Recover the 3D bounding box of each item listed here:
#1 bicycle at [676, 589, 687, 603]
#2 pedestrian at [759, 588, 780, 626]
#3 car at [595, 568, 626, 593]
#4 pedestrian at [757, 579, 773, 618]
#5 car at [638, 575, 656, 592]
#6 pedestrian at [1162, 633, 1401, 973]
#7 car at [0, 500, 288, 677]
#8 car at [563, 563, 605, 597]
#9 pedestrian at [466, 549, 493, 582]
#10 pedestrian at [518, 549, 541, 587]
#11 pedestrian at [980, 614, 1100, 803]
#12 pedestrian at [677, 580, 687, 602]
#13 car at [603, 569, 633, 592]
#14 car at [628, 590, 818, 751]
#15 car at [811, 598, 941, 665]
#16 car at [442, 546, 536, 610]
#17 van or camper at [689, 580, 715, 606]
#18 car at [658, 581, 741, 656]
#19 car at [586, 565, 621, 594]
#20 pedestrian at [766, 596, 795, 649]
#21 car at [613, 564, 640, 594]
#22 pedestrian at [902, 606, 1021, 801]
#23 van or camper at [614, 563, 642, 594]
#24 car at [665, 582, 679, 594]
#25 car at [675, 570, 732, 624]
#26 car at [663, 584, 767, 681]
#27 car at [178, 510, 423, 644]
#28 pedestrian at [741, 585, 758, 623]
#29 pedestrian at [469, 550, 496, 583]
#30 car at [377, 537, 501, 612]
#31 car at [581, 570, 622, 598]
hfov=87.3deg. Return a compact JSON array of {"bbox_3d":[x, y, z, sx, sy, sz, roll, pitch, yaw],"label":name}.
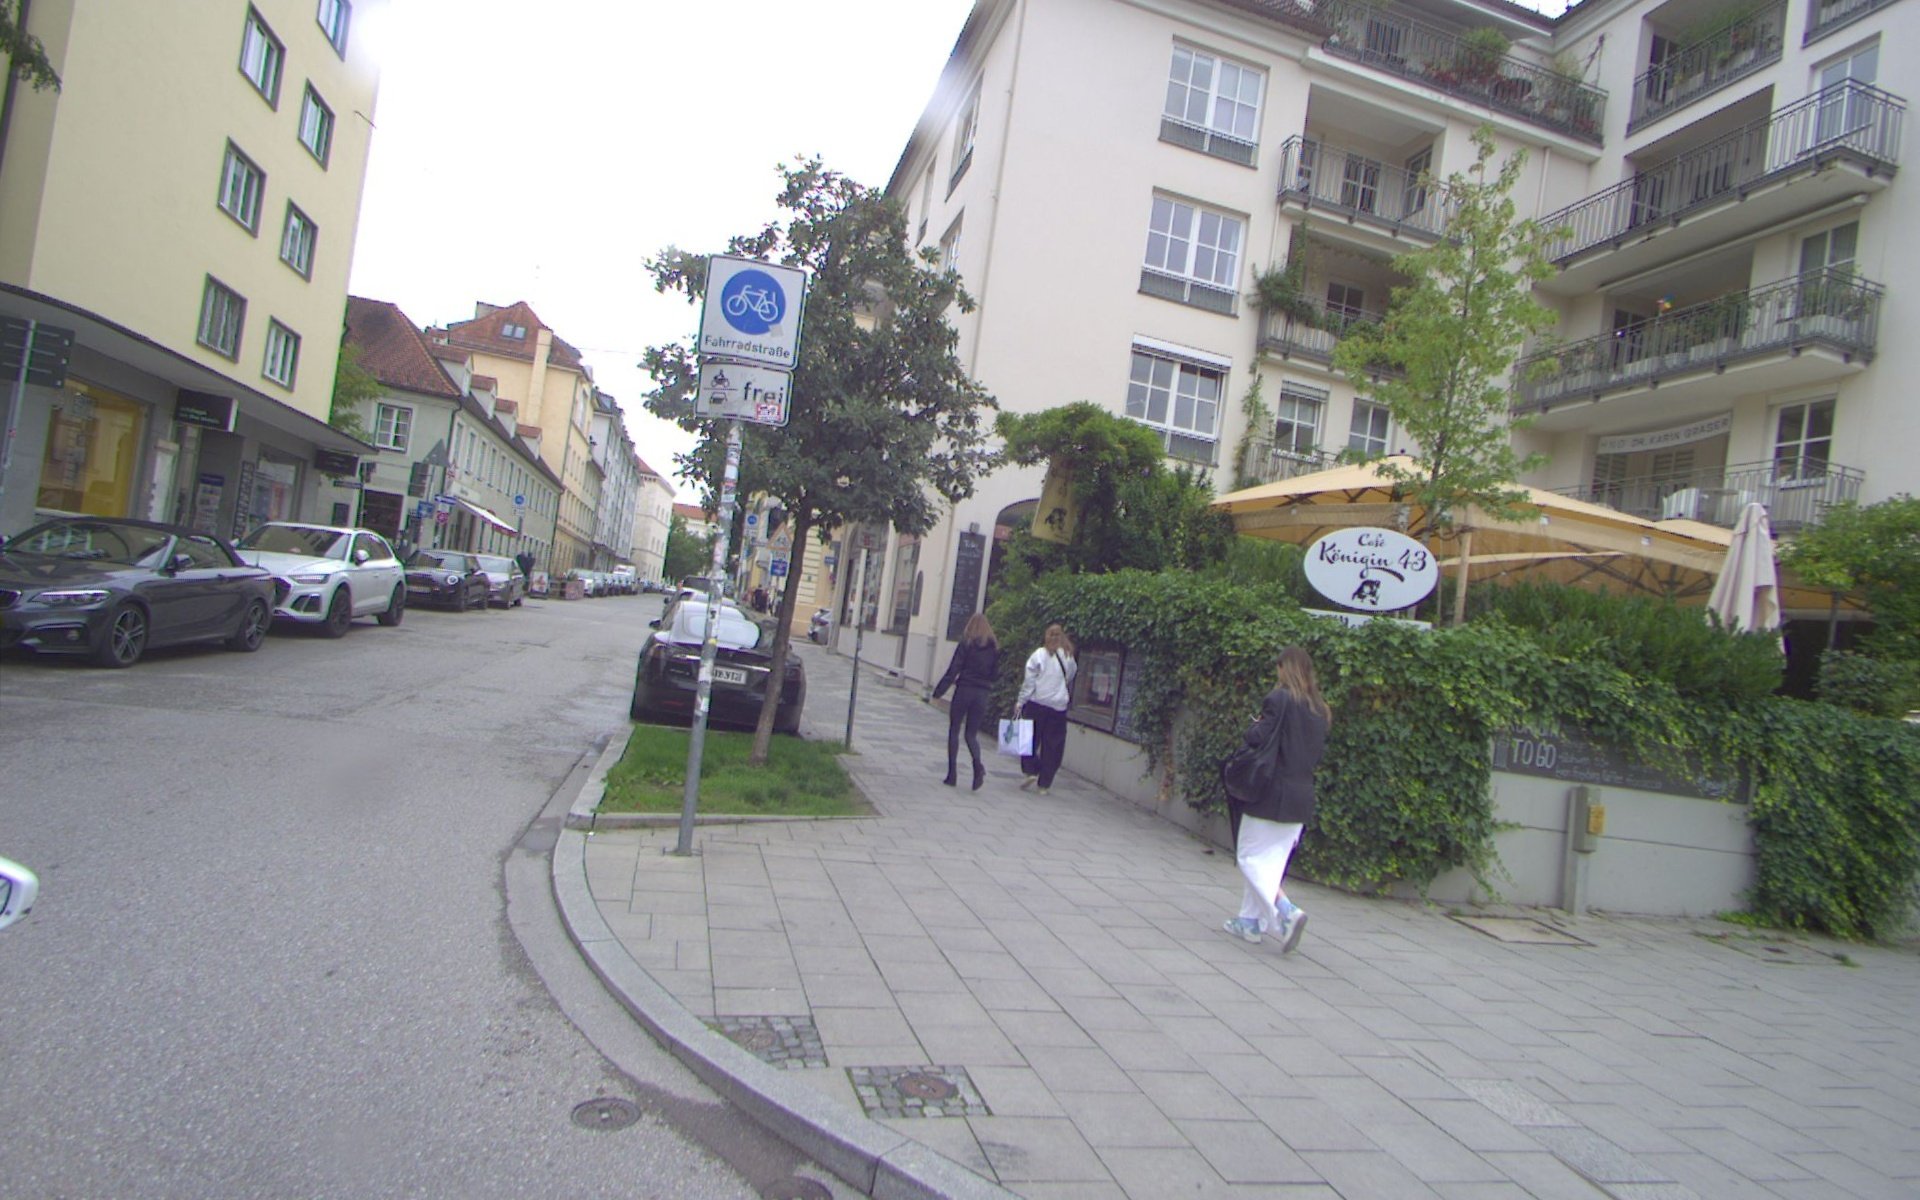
[{"bbox_3d":[-23.293,-0.313,84.142,0.667,1.107,1.756,8,-2,-15],"label":"bicycle"},{"bbox_3d":[-8.733,0.321,46.039,0.651,1.639,0.977,8,-2,-15],"label":"pedestrian"},{"bbox_3d":[-24.259,-1.373,69.995,1.796,1.459,4.115,8,-1,-18],"label":"car"},{"bbox_3d":[-10.473,-0.070,53.972,0.661,2.004,0.707,5,-1,-14],"label":"pedestrian"},{"bbox_3d":[-36.519,-1.904,117.401,1.686,1.628,3.852,7,-1,-15],"label":"car"},{"bbox_3d":[1.724,1.050,5.502,0.696,1.641,0.878,8,-2,-16],"label":"pedestrian"},{"bbox_3d":[-8.887,-0.187,10.496,1.724,1.428,4.086,7,0,-14],"label":"car"},{"bbox_3d":[-20.191,-1.063,54.095,1.736,1.491,3.700,10,-2,-17],"label":"car"},{"bbox_3d":[-21.098,-1.489,44.164,0.793,1.304,0.692,8,-2,-15],"label":"pedestrian"},{"bbox_3d":[-23.435,-1.739,54.749,0.813,1.919,0.825,8,-1,-16],"label":"pedestrian"},{"bbox_3d":[0.761,1.020,9.780,0.696,1.680,0.878,8,-2,-16],"label":"pedestrian"},{"bbox_3d":[-23.243,-0.719,84.149,0.634,1.733,0.840,8,-2,-15],"label":"pedestrian"},{"bbox_3d":[-25.373,-1.446,74.706,1.734,1.425,4.090,9,-2,-16],"label":"car"},{"bbox_3d":[-3.079,0.746,12.963,1.782,1.427,4.642,10,-1,-14],"label":"car"},{"bbox_3d":[-2.915,1.080,34.628,4.041,1.625,1.748,9,1,-17],"label":"car"},{"bbox_3d":[-13.674,-0.636,29.448,1.659,1.489,4.932,7,-1,-17],"label":"car"},{"bbox_3d":[-22.265,-0.598,86.828,1.812,1.893,5.065,9,-1,-14],"label":"van or camper"},{"bbox_3d":[-6.722,0.405,25.713,1.658,1.441,4.188,11,-1,-17],"label":"car"},{"bbox_3d":[-22.994,-1.301,65.025,1.735,1.513,4.186,9,-2,-17],"label":"car"},{"bbox_3d":[-6.267,0.771,35.102,0.710,1.736,1.001,8,-2,-16],"label":"pedestrian"},{"bbox_3d":[-26.388,-1.663,79.680,1.736,2.018,4.607,9,-2,-18],"label":"car"},{"bbox_3d":[-0.004,0.937,9.432,0.696,1.680,0.878,8,-2,-16],"label":"pedestrian"},{"bbox_3d":[-27.955,-1.761,84.837,1.734,2.307,5.258,9,-2,-15],"label":"van or camper"},{"bbox_3d":[-45.409,-1.823,158.651,1.684,1.599,3.855,7,-1,-12],"label":"car"},{"bbox_3d":[-10.939,-0.153,43.119,1.973,1.886,5.240,9,-1,-13],"label":"car"},{"bbox_3d":[-5.053,0.574,20.470,1.628,1.441,4.494,11,-1,-16],"label":"car"},{"bbox_3d":[-10.127,-0.375,15.880,1.780,1.604,4.324,7,0,-14],"label":"car"},{"bbox_3d":[-9.580,0.190,45.790,0.466,1.643,1.066,8,-2,-15],"label":"pedestrian"},{"bbox_3d":[-21.288,-1.484,44.862,0.793,1.304,0.692,8,-2,-15],"label":"pedestrian"},{"bbox_3d":[-12.762,-0.595,24.899,1.658,1.489,4.086,7,-1,-14],"label":"car"},{"bbox_3d":[-21.123,-0.956,59.390,1.777,1.355,4.670,9,-1,-15],"label":"car"}]
